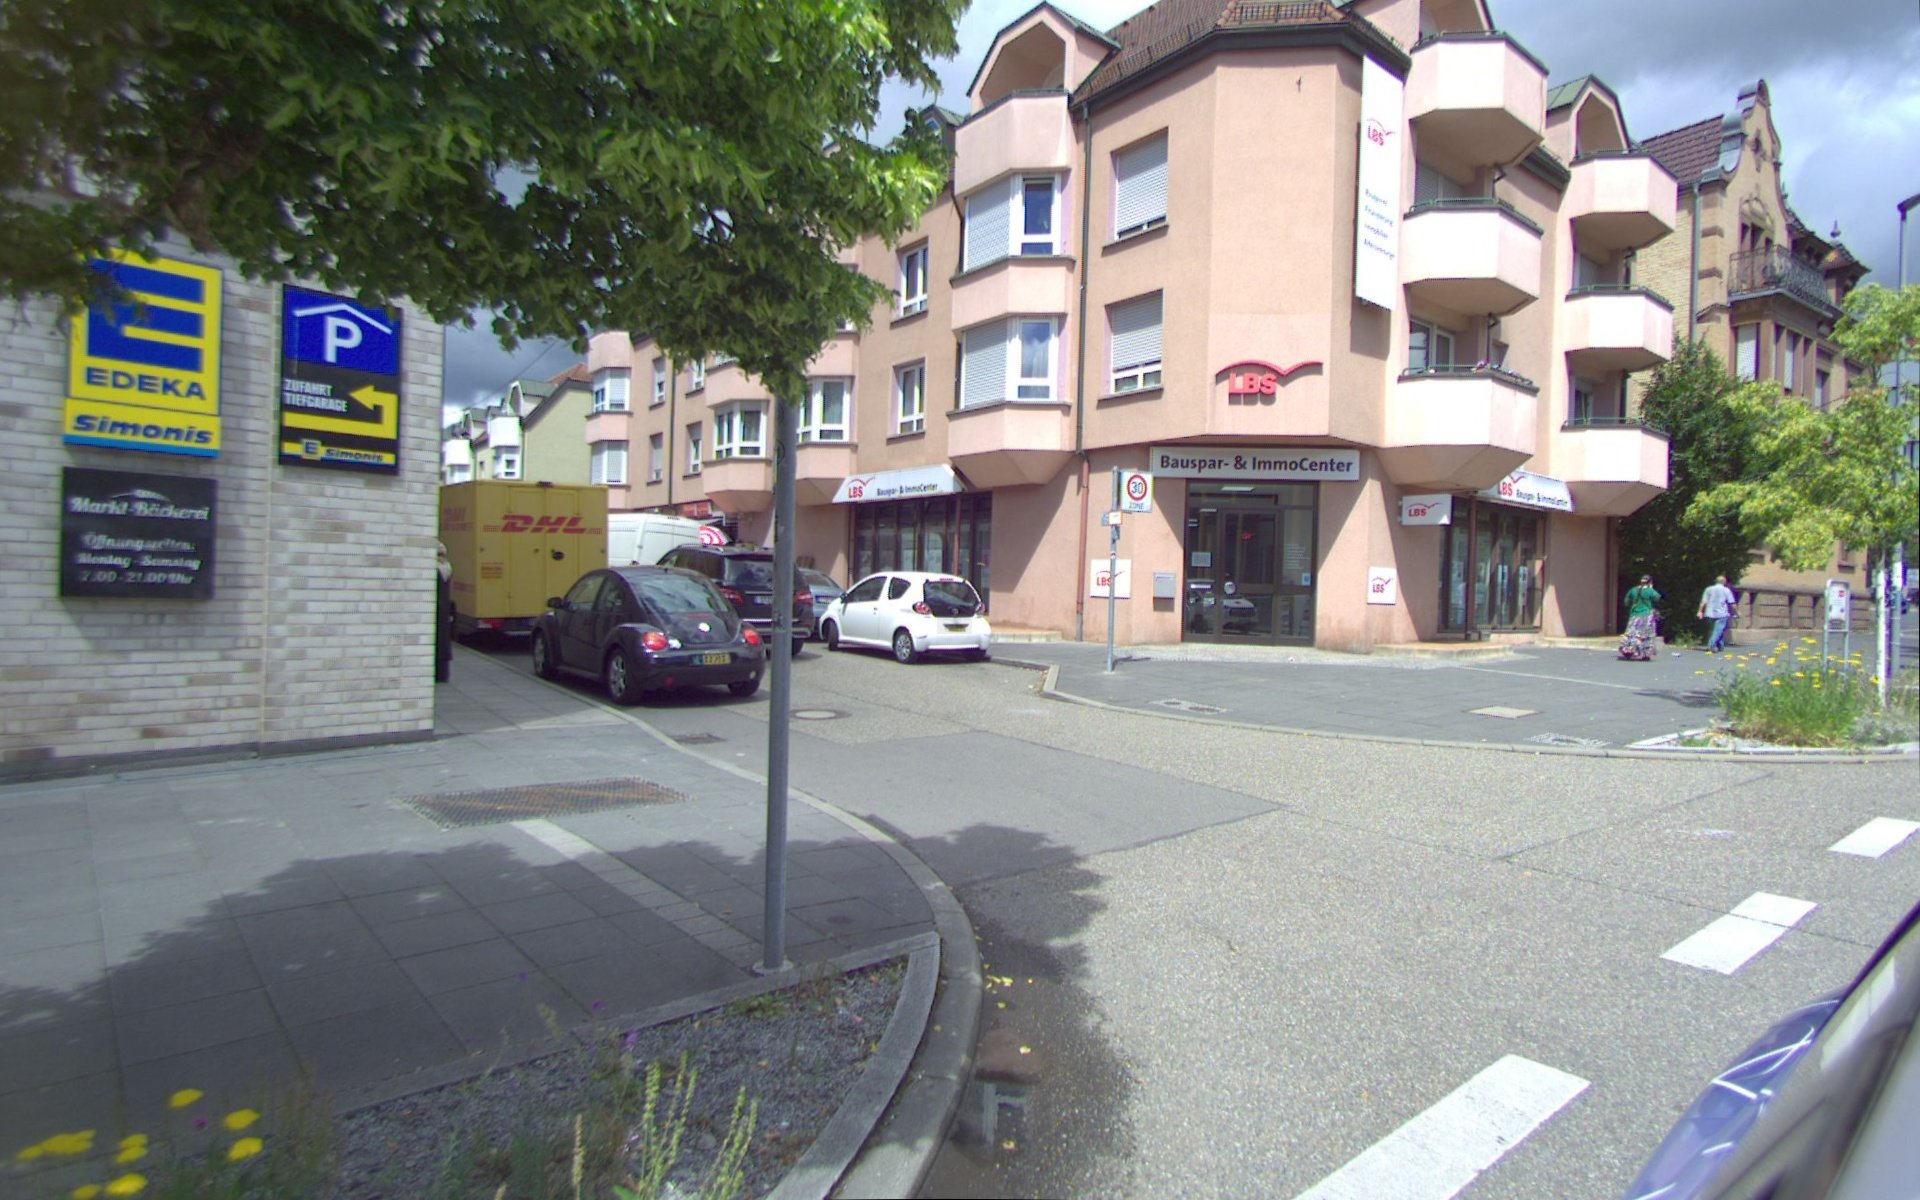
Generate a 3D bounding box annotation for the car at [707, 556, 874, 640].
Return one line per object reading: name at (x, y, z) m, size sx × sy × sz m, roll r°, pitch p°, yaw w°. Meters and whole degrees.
car at (-3.630, -0.101, 21.070) m, size 1.798 × 1.495 × 4.023 m, roll 1°, pitch 3°, yaw -36°

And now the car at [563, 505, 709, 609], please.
car at (-9.146, -1.228, 28.189) m, size 2.087 × 2.585 × 5.906 m, roll 1°, pitch 3°, yaw -36°

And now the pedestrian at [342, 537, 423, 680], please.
pedestrian at (-6.602, 0.088, 11.582) m, size 0.516 × 1.593 × 0.599 m, roll 0°, pitch 1°, yaw 22°

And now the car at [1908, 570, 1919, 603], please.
car at (49.296, -0.664, 49.421) m, size 1.960 × 1.672 × 4.005 m, roll 0°, pitch 0°, yaw -29°

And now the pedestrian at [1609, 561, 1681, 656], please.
pedestrian at (12.572, 0.145, 18.579) m, size 0.910 × 1.659 × 0.747 m, roll 1°, pitch 3°, yaw -36°

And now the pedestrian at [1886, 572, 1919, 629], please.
pedestrian at (28.484, 0.002, 30.402) m, size 0.661 × 1.660 × 0.741 m, roll -1°, pitch 1°, yaw -10°

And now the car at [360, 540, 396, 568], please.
car at (-37.433, -2.964, 65.049) m, size 1.601 × 1.662 × 3.777 m, roll 1°, pitch 3°, yaw -36°

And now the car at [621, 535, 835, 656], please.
car at (-4.098, -0.174, 17.254) m, size 1.962 × 1.768 × 4.534 m, roll 1°, pitch 3°, yaw -35°

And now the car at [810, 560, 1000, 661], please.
car at (-1.034, 0.116, 17.501) m, size 1.686 × 1.495 × 3.392 m, roll 1°, pitch 3°, yaw -36°

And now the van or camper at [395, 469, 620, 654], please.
van or camper at (-8.518, -0.812, 18.552) m, size 2.235 × 2.769 × 6.876 m, roll -1°, pitch 4°, yaw -38°

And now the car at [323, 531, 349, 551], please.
car at (-54.198, -5.118, 87.914) m, size 1.601 × 1.662 × 3.777 m, roll 1°, pitch 3°, yaw -36°

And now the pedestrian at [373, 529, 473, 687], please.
pedestrian at (-6.013, 0.078, 11.358) m, size 0.549 × 1.692 × 0.810 m, roll 0°, pitch 1°, yaw 21°

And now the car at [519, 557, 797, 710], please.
car at (-3.835, 0.281, 12.430) m, size 1.753 × 1.495 × 3.901 m, roll 0°, pitch 3°, yaw -42°

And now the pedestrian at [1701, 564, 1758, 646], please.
pedestrian at (16.647, 0.085, 21.895) m, size 0.927 × 1.706 × 0.718 m, roll -1°, pitch 3°, yaw -38°

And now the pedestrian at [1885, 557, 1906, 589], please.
pedestrian at (57.470, -1.661, 62.169) m, size 0.751 × 1.937 × 0.686 m, roll -1°, pitch 1°, yaw -26°

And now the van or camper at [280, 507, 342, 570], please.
van or camper at (-30.524, -2.807, 47.526) m, size 2.016 × 2.741 × 5.161 m, roll -1°, pitch 1°, yaw -37°

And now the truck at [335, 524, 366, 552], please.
truck at (-48.683, -4.961, 80.771) m, size 1.601 × 2.161 × 5.390 m, roll 1°, pitch 3°, yaw -36°
